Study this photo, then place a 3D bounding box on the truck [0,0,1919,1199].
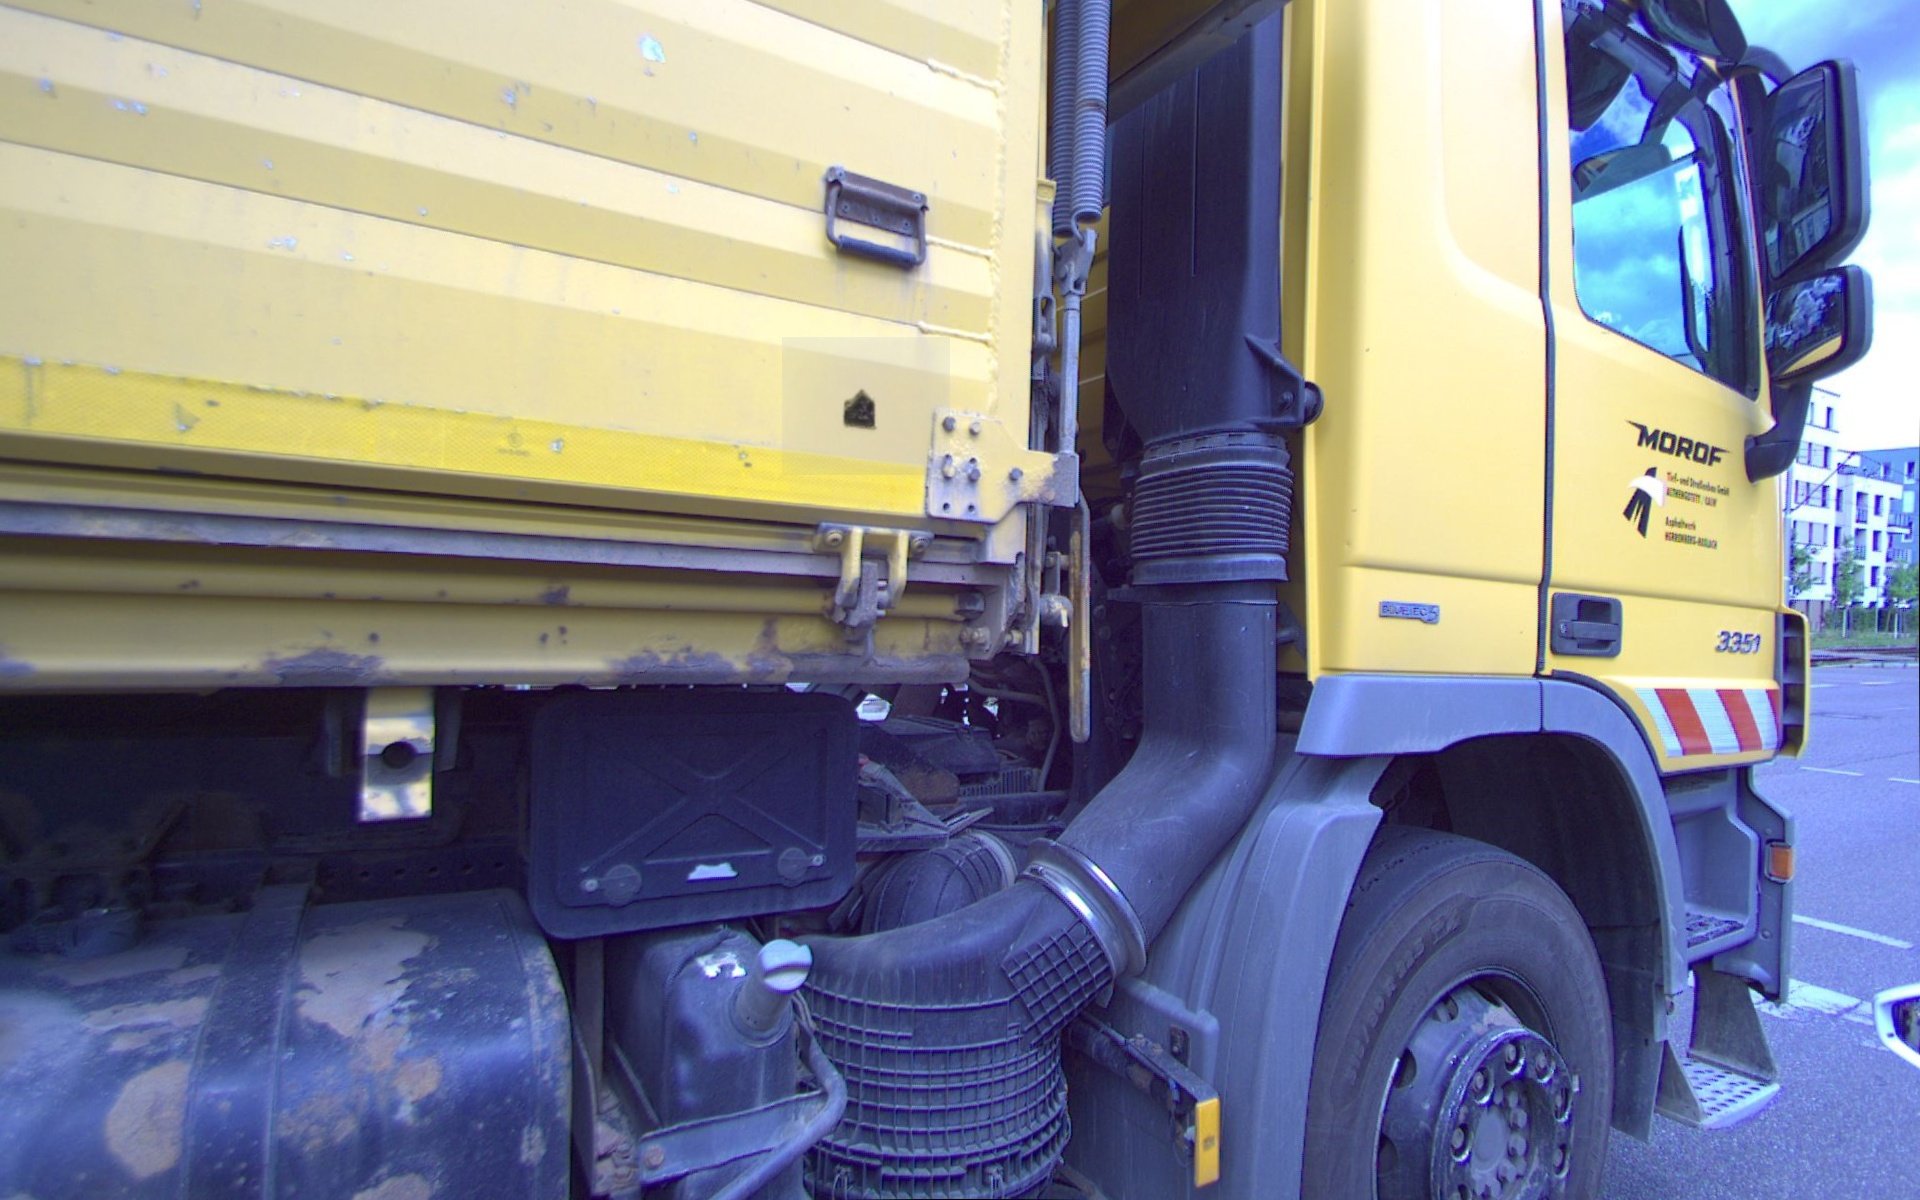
[{"bbox_3d":[-1.540,-0.045,1.592,7.688,3.043,2.707,2,0,-30],"label":"truck"}]
